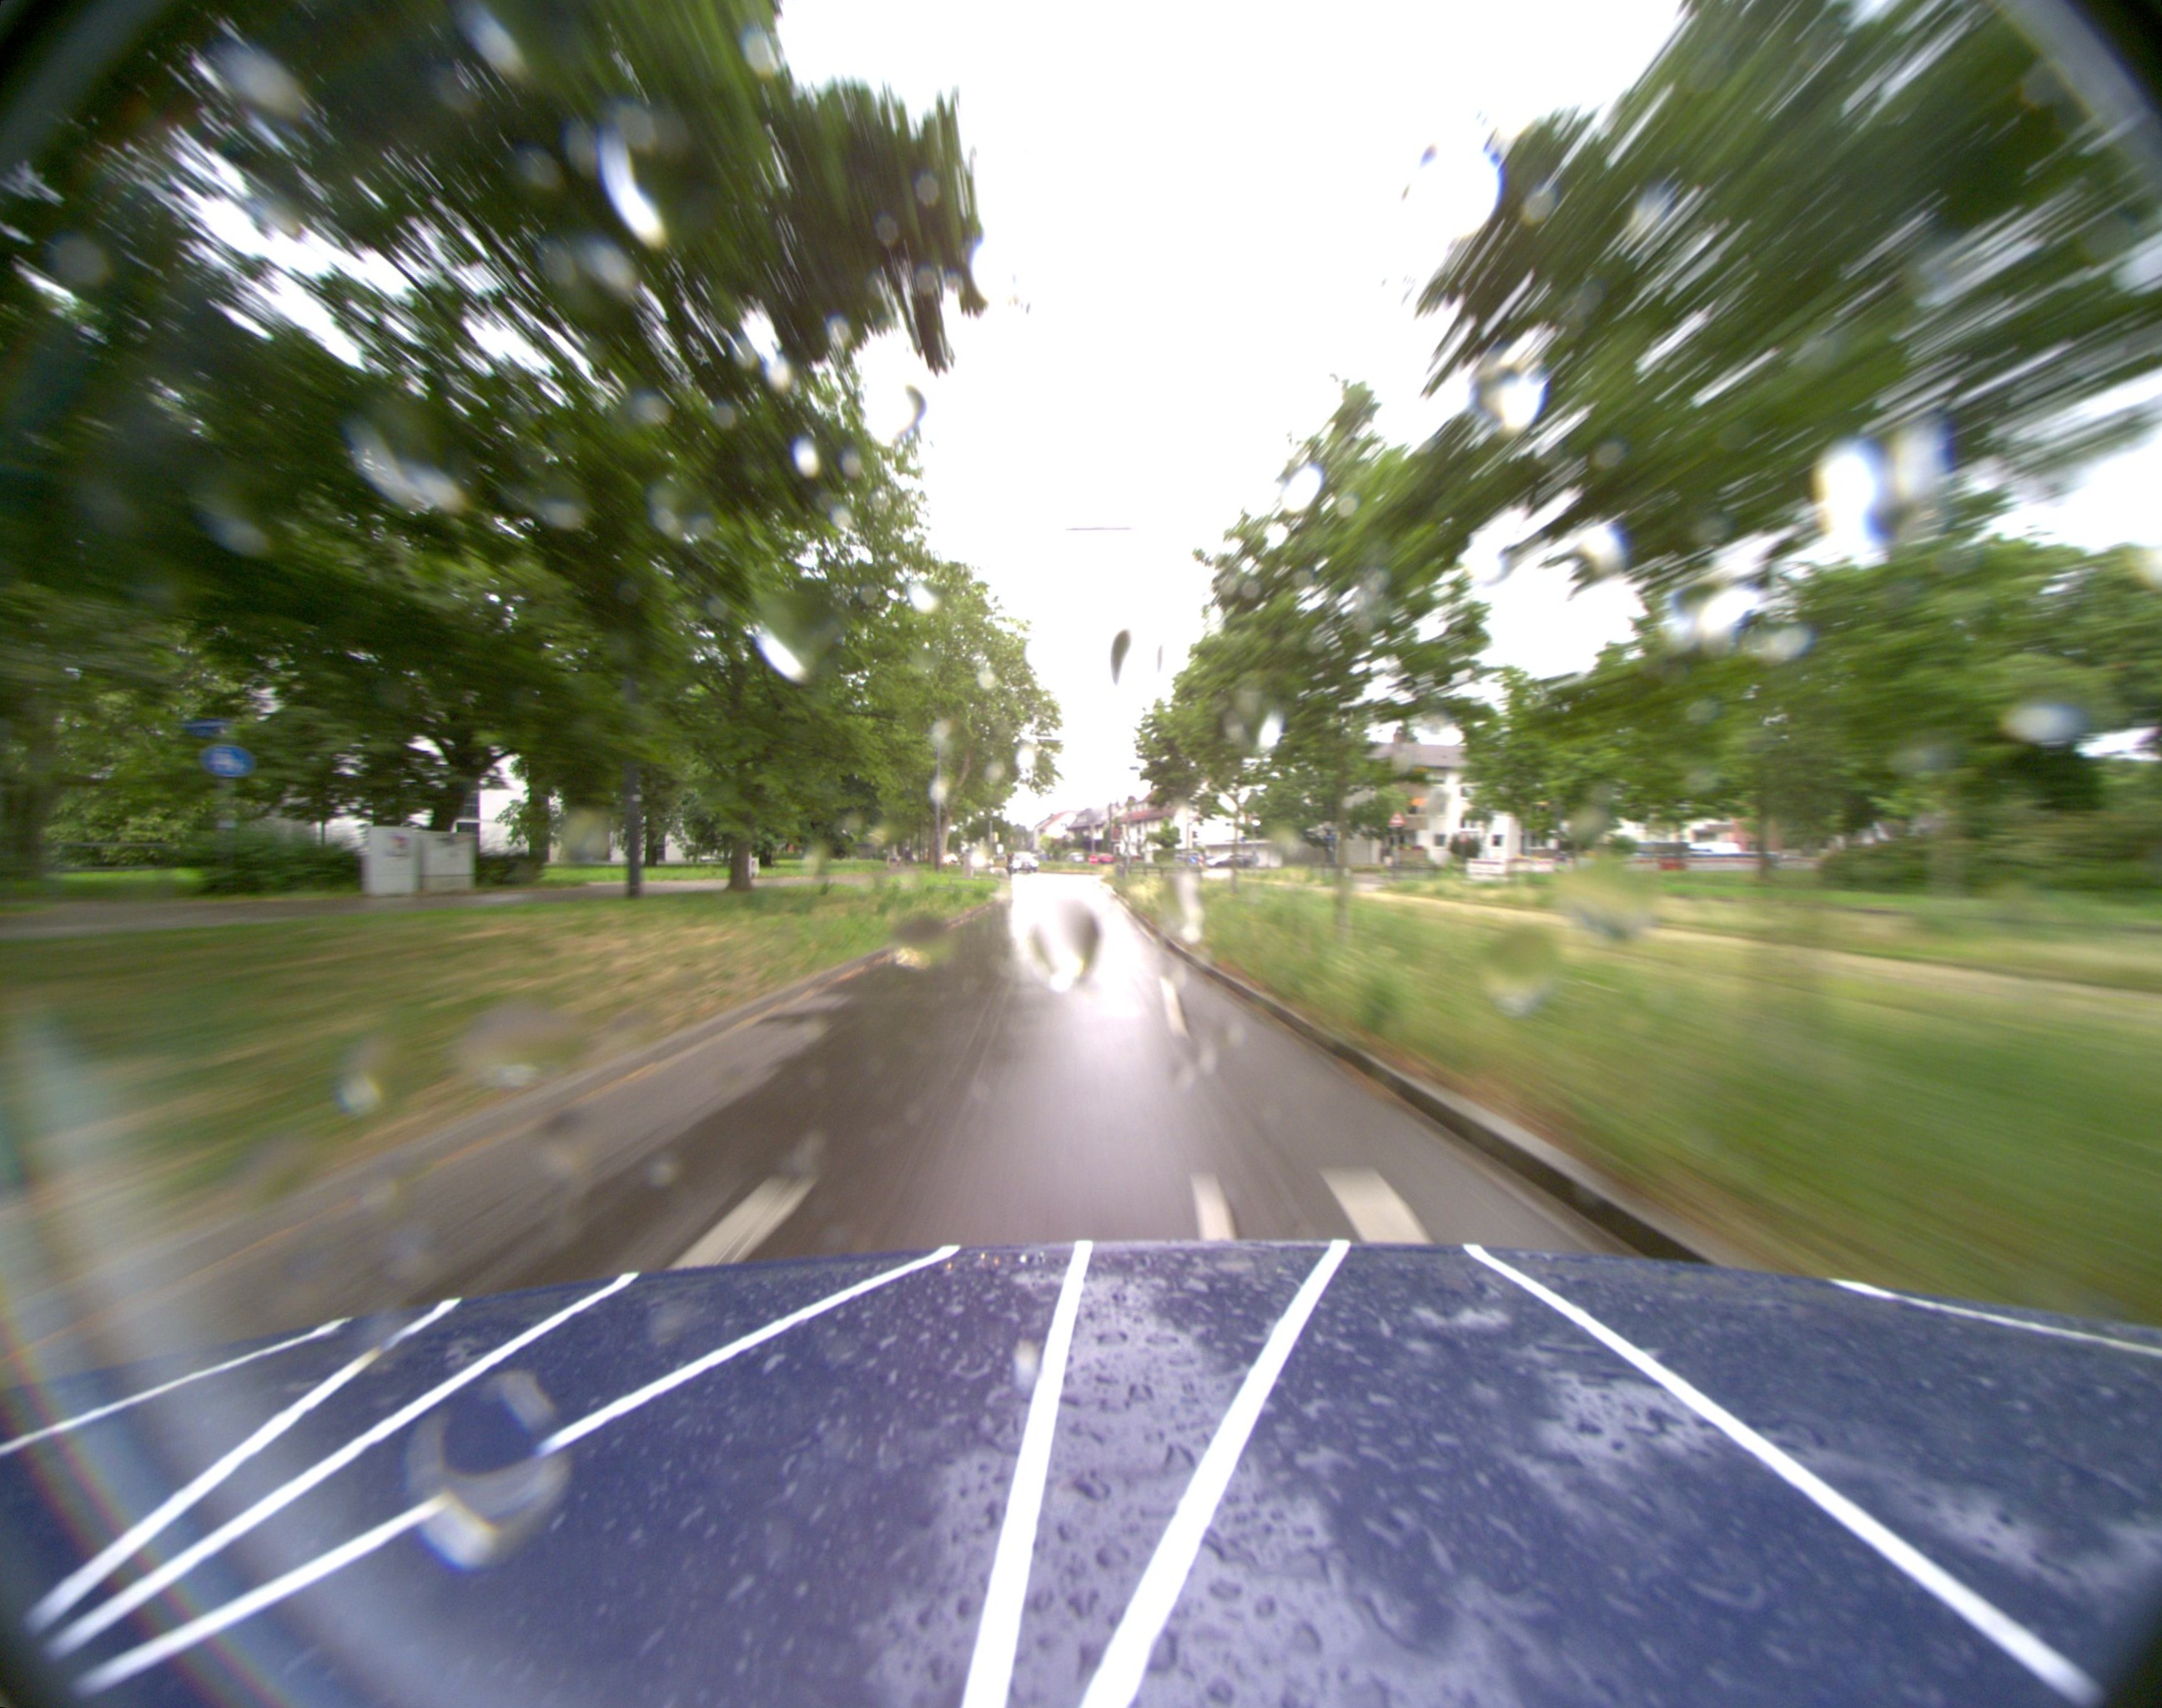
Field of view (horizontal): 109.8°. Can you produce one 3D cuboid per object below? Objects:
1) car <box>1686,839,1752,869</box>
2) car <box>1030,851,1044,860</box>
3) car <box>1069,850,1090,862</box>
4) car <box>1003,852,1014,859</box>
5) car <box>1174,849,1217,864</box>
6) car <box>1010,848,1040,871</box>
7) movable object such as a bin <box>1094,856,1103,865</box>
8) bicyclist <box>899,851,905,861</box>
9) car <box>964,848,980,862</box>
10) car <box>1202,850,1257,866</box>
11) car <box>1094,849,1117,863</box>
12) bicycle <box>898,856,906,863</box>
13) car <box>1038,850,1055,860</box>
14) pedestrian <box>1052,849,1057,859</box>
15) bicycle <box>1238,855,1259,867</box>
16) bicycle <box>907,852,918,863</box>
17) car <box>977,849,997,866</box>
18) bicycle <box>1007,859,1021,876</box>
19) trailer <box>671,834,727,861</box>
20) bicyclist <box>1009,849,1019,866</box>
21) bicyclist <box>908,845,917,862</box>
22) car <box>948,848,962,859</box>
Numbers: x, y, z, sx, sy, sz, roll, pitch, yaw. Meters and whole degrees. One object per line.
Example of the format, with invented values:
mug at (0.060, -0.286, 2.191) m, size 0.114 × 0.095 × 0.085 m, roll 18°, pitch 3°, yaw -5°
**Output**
car at (52.441, 0.002, 62.496) m, size 4.473 × 2.432 × 1.915 m, roll 0°, pitch 0°, yaw -14°
car at (-8.061, 0.271, 138.667) m, size 1.720 × 1.520 × 3.596 m, roll -3°, pitch 1°, yaw -15°
car at (-0.217, 0.222, 108.792) m, size 2.001 × 1.604 × 4.678 m, roll -2°, pitch 1°, yaw -13°
car at (-15.852, 0.389, 166.570) m, size 1.761 × 1.507 × 3.849 m, roll -3°, pitch 1°, yaw -15°
car at (11.874, 0.264, 78.943) m, size 4.002 × 1.567 × 1.890 m, roll 0°, pitch 0°, yaw -15°
car at (-4.469, 0.444, 60.387) m, size 1.769 × 1.715 × 3.930 m, roll -2°, pitch 0°, yaw -13°
movable object such as a bin at (2.753, 0.969, 118.152) m, size 1.189 × 1.290 × 0.738 m, roll -2°, pitch 1°, yaw -13°
bicyclist at (-18.138, 0.231, 77.001) m, size 0.488 × 1.032 × 0.591 m, roll 0°, pitch 1°, yaw -3°
car at (-14.509, 0.112, 101.290) m, size 1.769 × 1.715 × 3.929 m, roll 0°, pitch 1°, yaw -14°
car at (13.870, 0.372, 71.023) m, size 4.742 × 1.357 × 1.846 m, roll -1°, pitch 1°, yaw -12°
car at (3.106, 0.245, 95.892) m, size 1.848 × 1.538 × 3.968 m, roll -3°, pitch 1°, yaw -13°
bicycle at (-18.136, 0.519, 77.027) m, size 0.488 × 0.704 × 1.457 m, roll 0°, pitch 1°, yaw -3°
car at (-6.004, 0.171, 131.933) m, size 1.851 × 1.696 × 4.176 m, roll -2°, pitch 1°, yaw -16°
pedestrian at (-4.718, 0.042, 133.934) m, size 0.600 × 1.757 × 0.868 m, roll -1°, pitch 1°, yaw -14°
bicycle at (14.406, 0.619, 65.291) m, size 0.483 × 1.013 × 1.837 m, roll -5°, pitch 2°, yaw -39°
bicycle at (-17.151, 0.327, 77.245) m, size 0.713 × 1.136 × 1.971 m, roll 0°, pitch 1°, yaw -3°
car at (-9.885, 0.309, 79.571) m, size 1.769 × 1.715 × 3.930 m, roll -1°, pitch 1°, yaw -12°
bicycle at (-4.355, 0.863, 49.354) m, size 0.660 × 1.008 × 2.254 m, roll 0°, pitch 1°, yaw -11°
trailer at (-34.443, -0.572, 68.577) m, size 1.886 × 2.295 × 4.029 m, roll 1°, pitch 0°, yaw 36°
bicyclist at (-4.361, 0.239, 49.402) m, size 0.622 × 1.078 × 0.624 m, roll 0°, pitch 1°, yaw -11°
bicyclist at (-17.143, -0.101, 77.207) m, size 0.713 × 1.711 × 0.957 m, roll 0°, pitch 1°, yaw -3°
car at (-19.827, -0.037, 119.442) m, size 1.770 × 1.715 × 3.928 m, roll 0°, pitch 1°, yaw -16°
